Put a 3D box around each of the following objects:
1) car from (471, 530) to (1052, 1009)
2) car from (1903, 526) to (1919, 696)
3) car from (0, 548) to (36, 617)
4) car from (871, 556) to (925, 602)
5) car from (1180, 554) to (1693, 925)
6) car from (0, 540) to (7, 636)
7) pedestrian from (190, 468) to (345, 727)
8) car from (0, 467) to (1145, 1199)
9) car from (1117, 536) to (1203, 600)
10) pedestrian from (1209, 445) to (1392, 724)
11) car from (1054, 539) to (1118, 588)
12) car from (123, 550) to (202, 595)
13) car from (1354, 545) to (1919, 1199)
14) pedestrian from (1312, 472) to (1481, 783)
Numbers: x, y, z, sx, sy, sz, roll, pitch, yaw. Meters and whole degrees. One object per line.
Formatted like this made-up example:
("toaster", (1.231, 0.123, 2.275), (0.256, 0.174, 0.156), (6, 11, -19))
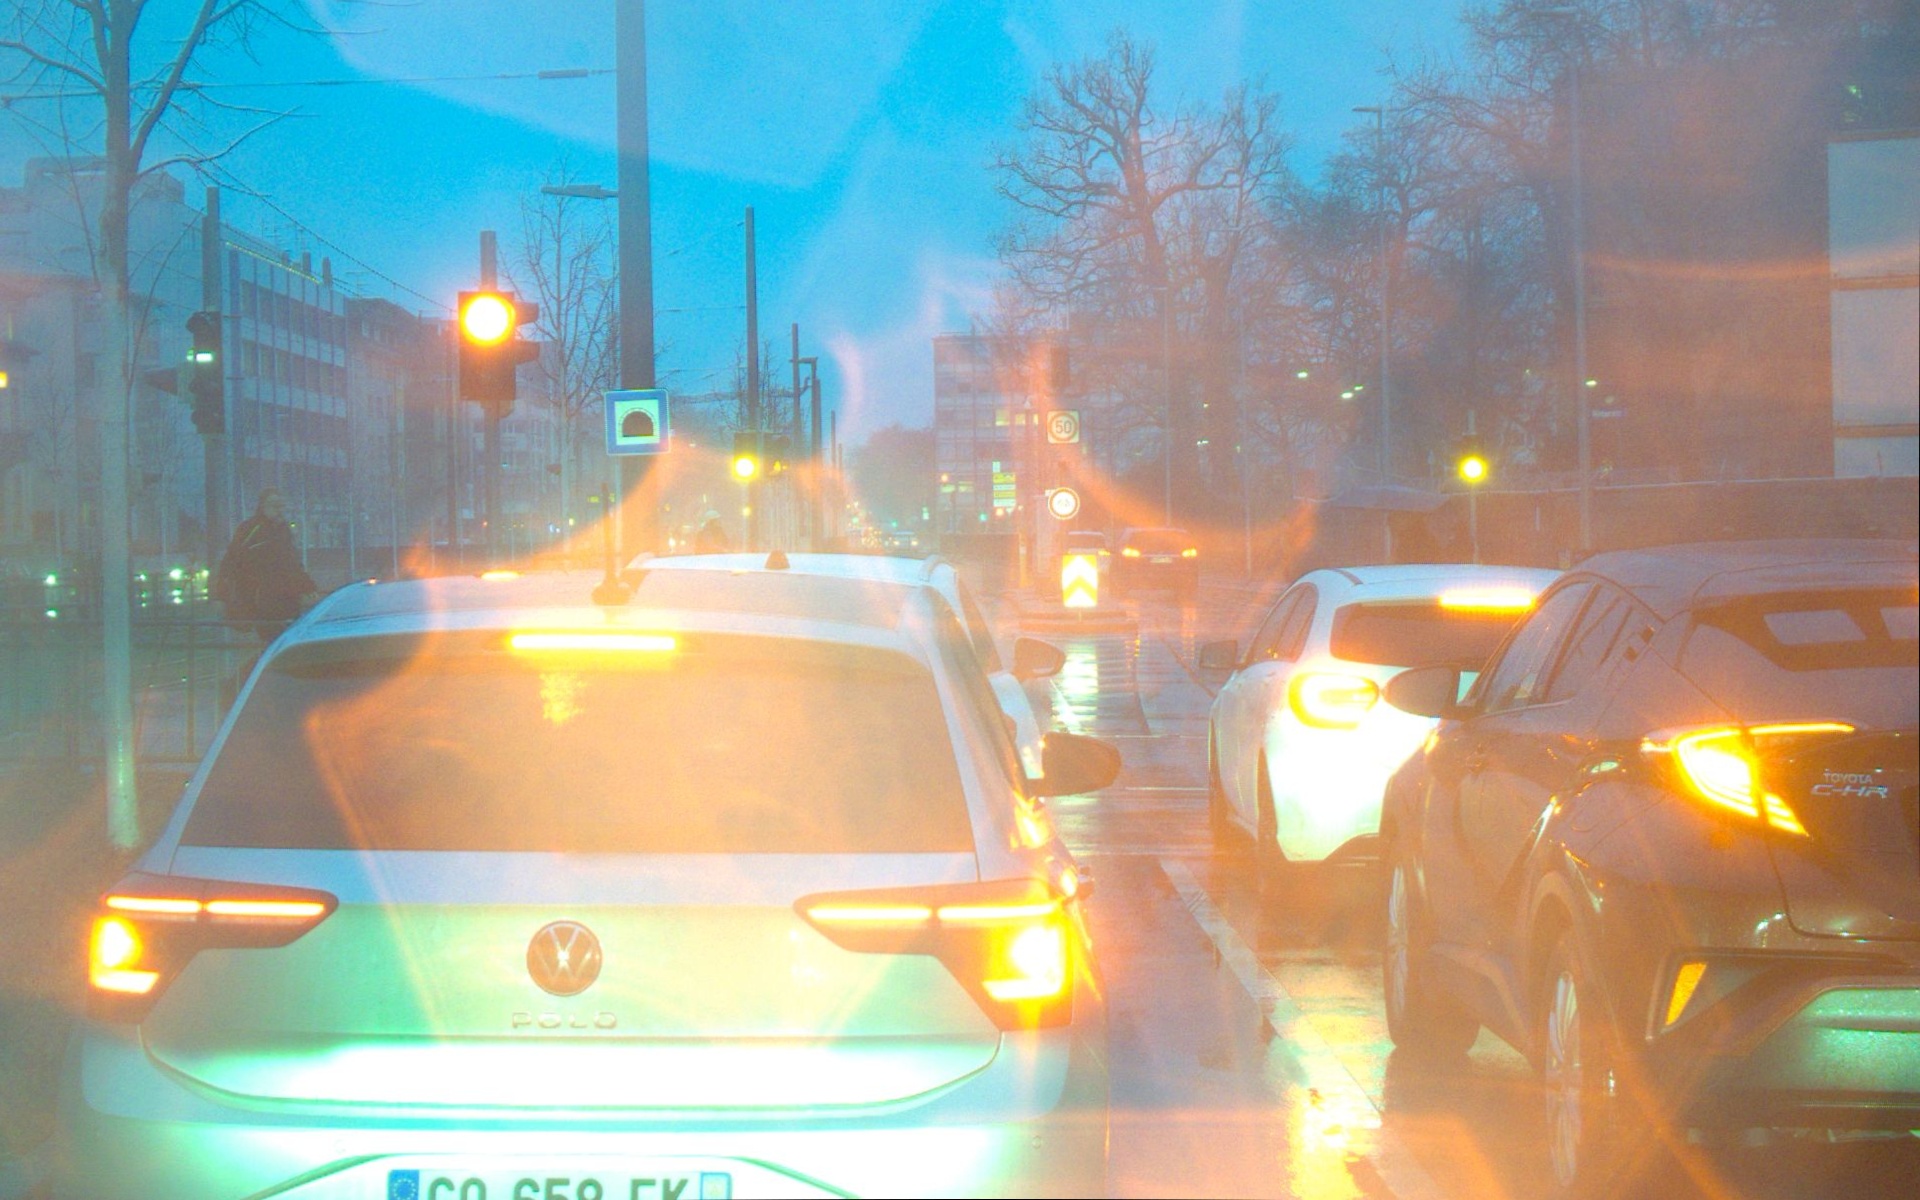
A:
("car", (-0.636, 0.486, 13.102), (1.799, 1.461, 4.586), (-1, 1, 0))
("car", (13.141, 0.158, 39.686), (4.275, 1.937, 1.998), (1, 1, 17))
("car", (-23.334, -0.442, 81.140), (1.950, 1.597, 4.000), (1, 1, 0))
("car", (-2.061, -0.715, 115.481), (1.737, 1.415, 4.394), (-1, 1, 0))
("car", (1.988, 0.523, 15.361), (1.745, 1.428, 3.731), (1, 1, 0))
("car", (-16.826, -0.194, 55.199), (1.993, 1.597, 4.000), (1, 1, -1))
("pedestrian", (-5.514, -0.032, 27.337), (1.004, 2.007, 0.962), (-1, 1, -22))
("car", (-0.717, 0.533, 6.913), (1.693, 1.528, 4.001), (0, 1, -4))
("car", (4.642, -0.765, 80.180), (1.737, 1.415, 3.703), (-1, 1, 0))
("pedestrian", (2.513, -0.126, 25.455), (0.958, 2.007, 1.008), (-1, 1, -23))
("car", (3.807, -1.118, 104.380), (1.737, 1.415, 3.703), (-1, 1, 0))
("car", (-29.213, -1.010, 126.025), (1.950, 1.597, 4.000), (1, 1, 0))
("car", (2.119, 0.629, 8.533), (1.800, 1.505, 3.895), (-1, 1, 0))
("pedestrian", (2.882, 0.168, 22.798), (0.959, 2.007, 1.008), (-1, 1, -1))
